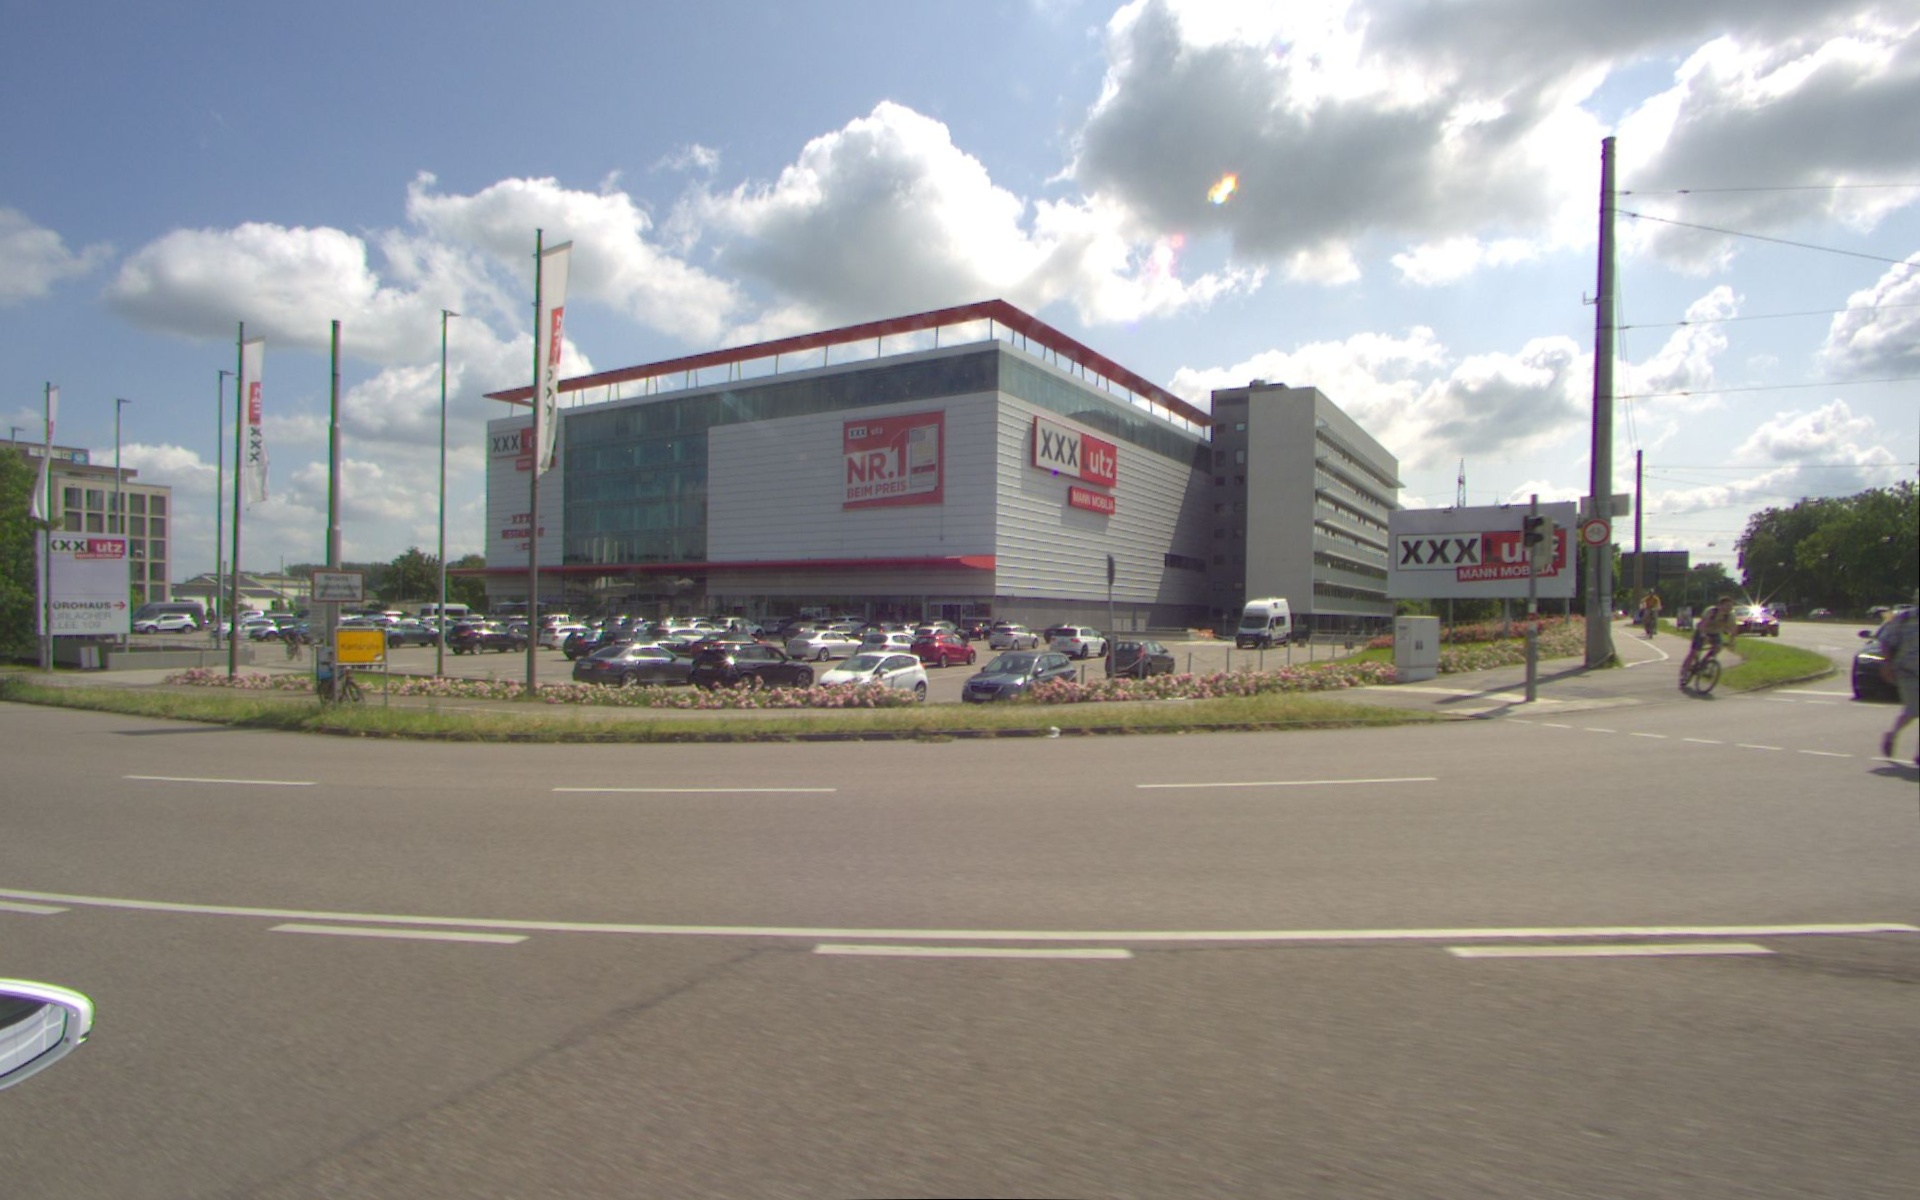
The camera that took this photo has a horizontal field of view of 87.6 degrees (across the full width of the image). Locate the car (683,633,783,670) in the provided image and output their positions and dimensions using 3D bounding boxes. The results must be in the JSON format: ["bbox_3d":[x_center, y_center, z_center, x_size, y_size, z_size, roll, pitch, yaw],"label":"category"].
[{"bbox_3d":[-10.208,2.284,45.296,1.821,1.381,4.347,1,1,34],"label":"car"}]

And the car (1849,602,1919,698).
[{"bbox_3d":[16.746,0.775,16.978,4.154,1.502,1.901,0,-1,-40],"label":"car"}]

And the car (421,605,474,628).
[{"bbox_3d":[-47.778,1.563,93.428,1.971,1.976,3.980,0,-2,33],"label":"car"}]

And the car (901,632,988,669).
[{"bbox_3d":[-0.663,2.286,46.082,1.821,1.446,4.347,1,1,34],"label":"car"}]

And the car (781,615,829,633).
[{"bbox_3d":[-13.093,2.033,84.775,1.714,1.497,4.159,0,-2,32],"label":"car"}]

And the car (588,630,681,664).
[{"bbox_3d":[-16.068,2.309,49.615,1.604,1.461,4.347,1,1,34],"label":"car"}]

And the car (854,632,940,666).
[{"bbox_3d":[-2.960,2.301,47.635,1.821,1.381,4.347,1,1,34],"label":"car"}]

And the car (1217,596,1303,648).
[{"bbox_3d":[19.845,1.478,65.948,3.081,3.195,7.858,-1,-2,35],"label":"car"}]

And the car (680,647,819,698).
[{"bbox_3d":[-6.630,2.243,31.917,1.831,1.434,4.350,-1,-2,33],"label":"car"}]

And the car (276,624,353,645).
[{"bbox_3d":[-44.233,2.350,68.702,1.664,1.342,4.175,0,0,32],"label":"car"}]

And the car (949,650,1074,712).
[{"bbox_3d":[1.446,2.081,26.619,1.691,1.436,3.982,-1,-2,31],"label":"car"}]

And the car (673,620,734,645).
[{"bbox_3d":[-17.611,2.219,68.928,1.680,1.531,4.148,0,0,29],"label":"car"}]

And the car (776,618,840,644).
[{"bbox_3d":[-9.692,2.009,64.113,1.972,1.526,3.981,-1,-3,33],"label":"car"}]

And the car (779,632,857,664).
[{"bbox_3d":[-7.006,2.340,49.833,1.580,1.381,4.013,1,1,34],"label":"car"}]

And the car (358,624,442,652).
[{"bbox_3d":[-34.299,2.284,61.452,1.739,1.573,4.175,0,0,31],"label":"car"}]

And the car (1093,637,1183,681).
[{"bbox_3d":[7.223,2.317,40.360,2.021,1.428,4.346,1,1,34],"label":"car"}]

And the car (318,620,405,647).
[{"bbox_3d":[-38.314,2.131,64.216,2.000,1.595,4.351,0,0,31],"label":"car"}]

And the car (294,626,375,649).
[{"bbox_3d":[-42.137,2.509,67.557,1.739,1.342,4.351,0,0,31],"label":"car"}]

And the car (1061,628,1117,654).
[{"bbox_3d":[7.633,2.424,58.873,1.891,1.459,3.984,0,-2,30],"label":"car"}]

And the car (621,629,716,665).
[{"bbox_3d":[-13.961,2.212,48.157,1.659,1.528,4.347,0,0,34],"label":"car"}]

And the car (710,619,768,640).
[{"bbox_3d":[-16.558,2.209,75.100,1.681,1.530,4.333,0,-2,32],"label":"car"}]

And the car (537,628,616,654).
[{"bbox_3d":[-23.143,2.437,60.527,1.734,1.446,4.281,2,0,32],"label":"car"}]

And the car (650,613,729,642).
[{"bbox_3d":[-15.019,1.534,55.759,1.800,1.527,4.142,0,-2,33],"label":"car"}]

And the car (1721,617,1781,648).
[{"bbox_3d":[37.313,1.526,47.310,1.724,1.378,4.228,-2,-2,32],"label":"car"}]

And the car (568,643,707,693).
[{"bbox_3d":[-10.946,2.267,34.286,1.831,1.495,4.348,-1,-2,34],"label":"car"}]

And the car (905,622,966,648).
[{"bbox_3d":[-1.398,2.076,59.010,1.645,1.470,3.979,0,-2,33],"label":"car"}]

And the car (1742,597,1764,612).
[{"bbox_3d":[142.359,0.845,179.771,2.116,2.388,5.461,0,-2,29],"label":"car"}]

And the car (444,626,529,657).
[{"bbox_3d":[-26.183,2.263,55.489,1.715,1.551,4.049,0,0,29],"label":"car"}]

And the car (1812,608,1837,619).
[{"bbox_3d":[116.893,1.837,135.426,1.906,1.382,3.728,0,-2,30],"label":"car"}]

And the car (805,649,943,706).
[{"bbox_3d":[-2.414,2.201,29.223,1.771,1.458,4.350,-1,-2,33],"label":"car"}]

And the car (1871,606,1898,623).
[{"bbox_3d":[102.519,1.611,111.040,1.782,1.883,3.571,0,-2,36],"label":"car"}]

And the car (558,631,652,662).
[{"bbox_3d":[-17.997,2.327,50.942,1.821,1.381,4.347,1,1,34],"label":"car"}]

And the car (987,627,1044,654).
[{"bbox_3d":[3.445,2.482,61.760,1.891,1.549,3.983,0,-2,30],"label":"car"}]
